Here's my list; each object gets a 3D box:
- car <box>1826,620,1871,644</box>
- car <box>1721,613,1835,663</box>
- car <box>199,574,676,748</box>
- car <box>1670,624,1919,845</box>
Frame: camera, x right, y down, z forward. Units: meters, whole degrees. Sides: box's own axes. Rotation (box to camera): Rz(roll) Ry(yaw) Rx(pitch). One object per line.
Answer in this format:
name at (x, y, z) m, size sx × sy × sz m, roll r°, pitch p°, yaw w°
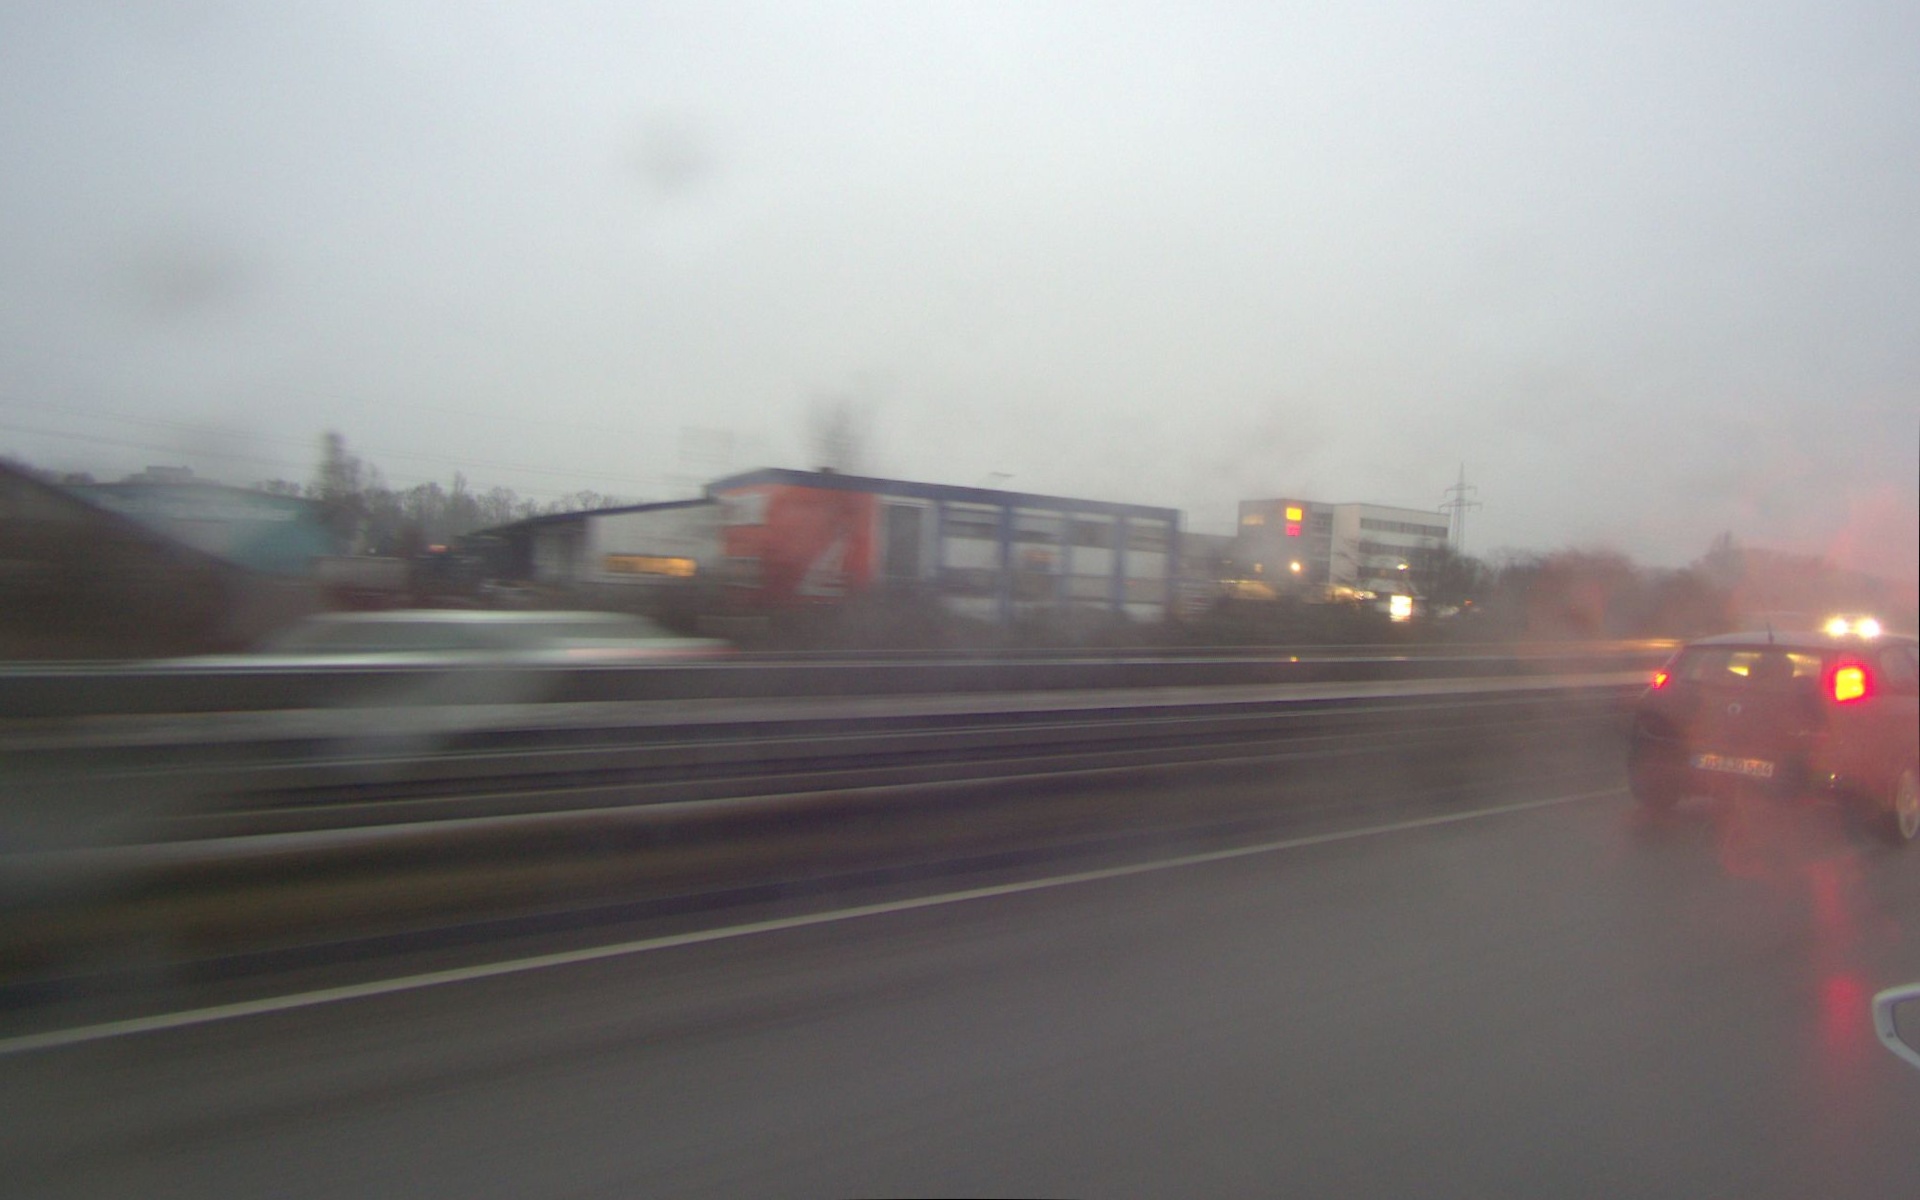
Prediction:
car at (55.659, 2.015, 62.890) m, size 4.051 × 1.439 × 1.656 m, roll 2°, pitch -1°, yaw -42°
car at (29.953, 1.369, 36.760) m, size 4.381 × 1.695 × 1.982 m, roll 1°, pitch 0°, yaw -33°
car at (-5.919, 0.664, 11.838) m, size 4.635 × 1.706 × 1.785 m, roll 2°, pitch -1°, yaw -31°
car at (7.593, 0.933, 8.280) m, size 3.960 × 1.410 × 1.615 m, roll 1°, pitch 0°, yaw -35°
